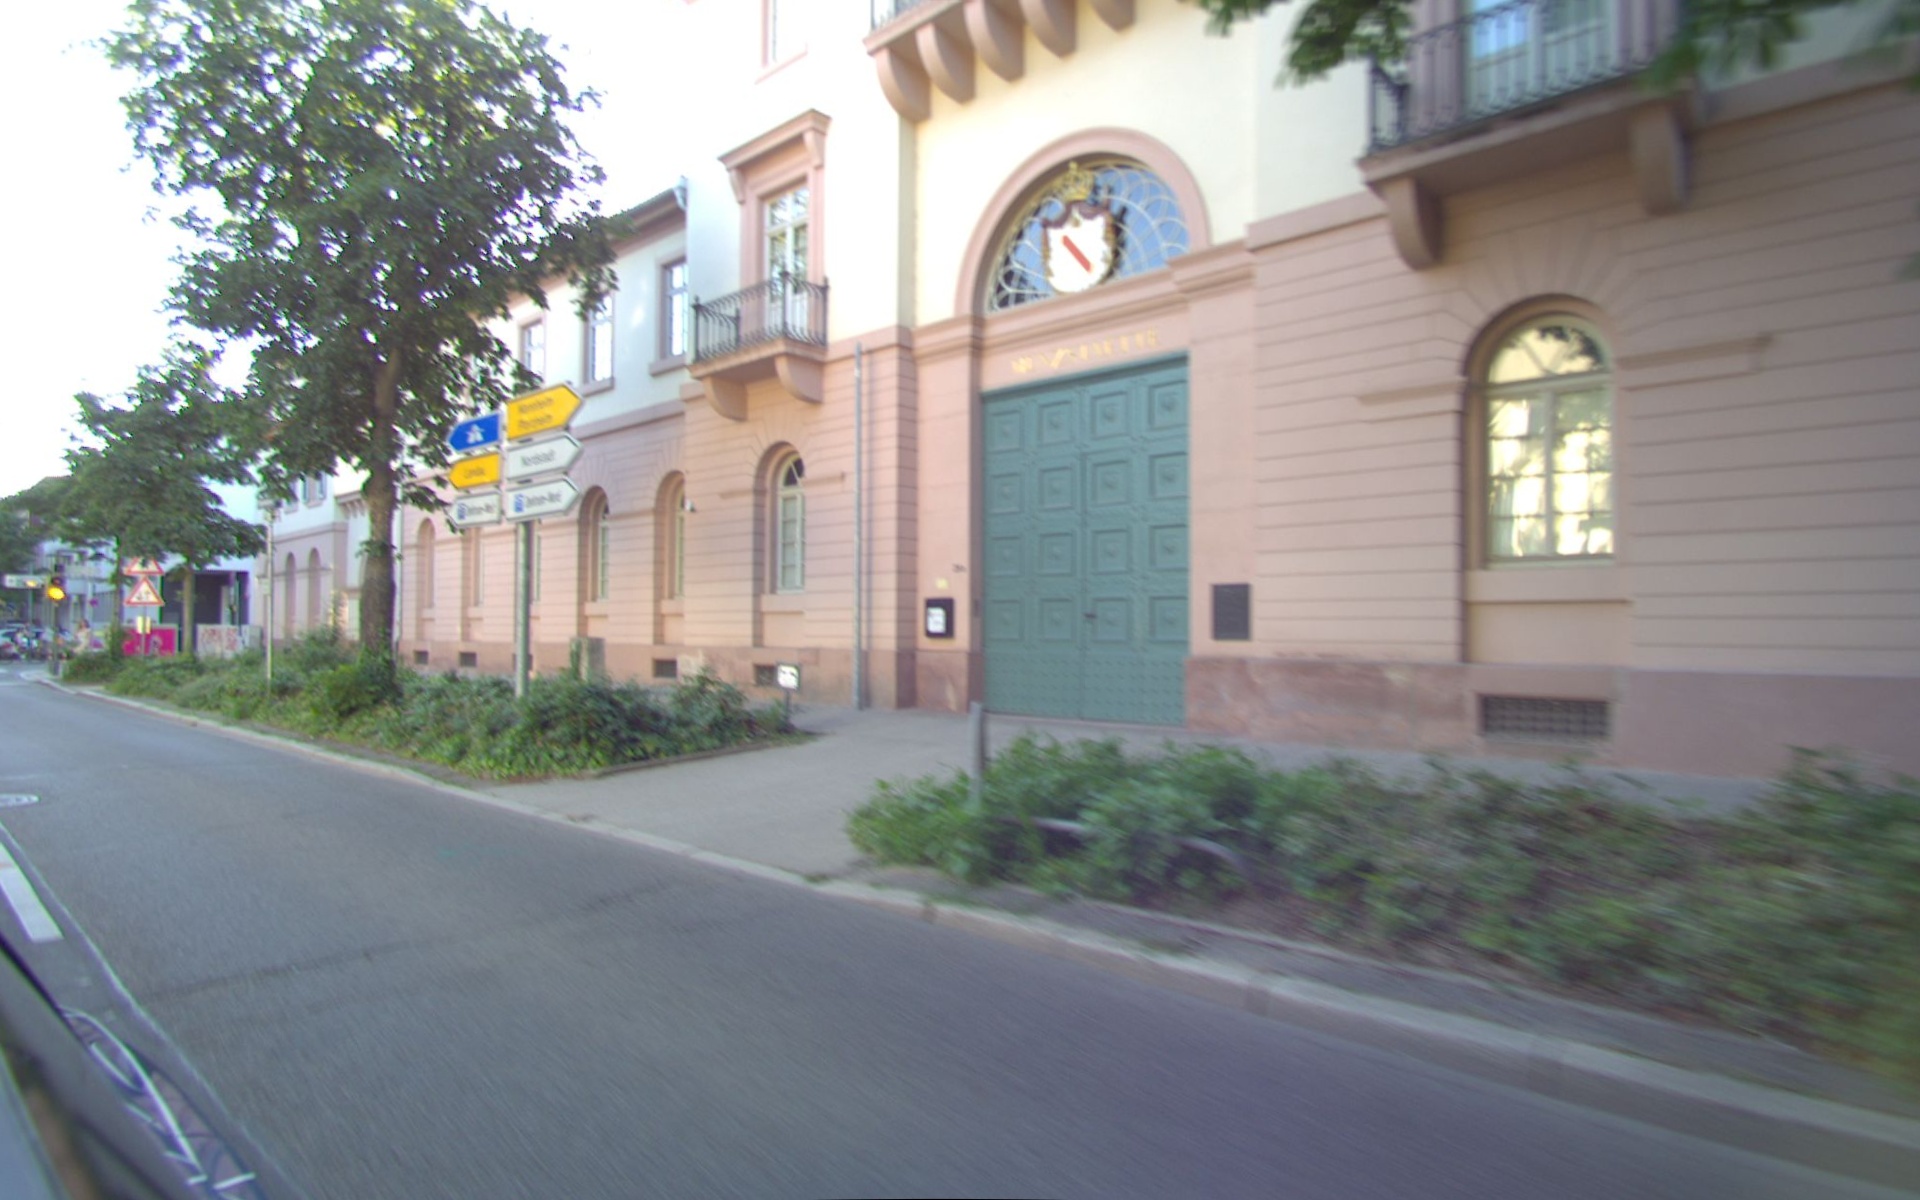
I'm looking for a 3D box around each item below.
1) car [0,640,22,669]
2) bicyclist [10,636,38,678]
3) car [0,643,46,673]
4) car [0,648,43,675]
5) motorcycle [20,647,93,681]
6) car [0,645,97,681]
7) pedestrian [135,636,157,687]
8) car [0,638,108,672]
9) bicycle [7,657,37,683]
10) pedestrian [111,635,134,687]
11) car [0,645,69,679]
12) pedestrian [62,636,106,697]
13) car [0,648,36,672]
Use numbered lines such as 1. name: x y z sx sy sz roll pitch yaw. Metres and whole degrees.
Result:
1. car: -67.902 3.791 69.490 2.188 2.006 4.938 -3 -4 41
2. bicyclist: -37.262 2.267 40.282 1.147 1.634 0.743 -3 -3 45
3. car: -58.118 3.512 60.749 2.155 1.779 4.617 -3 -2 41
4. car: -56.325 3.618 59.133 3.982 1.505 1.781 0 -2 -45
5. motorcycle: -38.989 2.743 43.697 2.118 1.430 0.971 2 -3 -27
6. car: -43.008 2.931 47.416 1.734 1.469 3.703 -3 -2 41
7. pedestrian: -29.917 2.256 37.211 0.546 1.864 0.613 2 -3 -35
8. car: -41.057 2.465 45.744 1.843 1.321 3.701 -3 -2 41
9. bicycle: -37.339 2.790 40.293 2.025 0.980 0.767 -3 -3 45
10. pedestrian: -30.520 2.203 36.876 0.546 1.864 0.613 2 -3 -34
11. car: -48.158 3.133 51.529 1.936 1.644 4.048 -3 -3 43
12. pedestrian: -26.735 2.019 30.895 0.779 1.805 0.773 -2 -1 -21
13. car: -59.916 3.747 62.684 1.854 1.462 3.804 -4 -3 41
